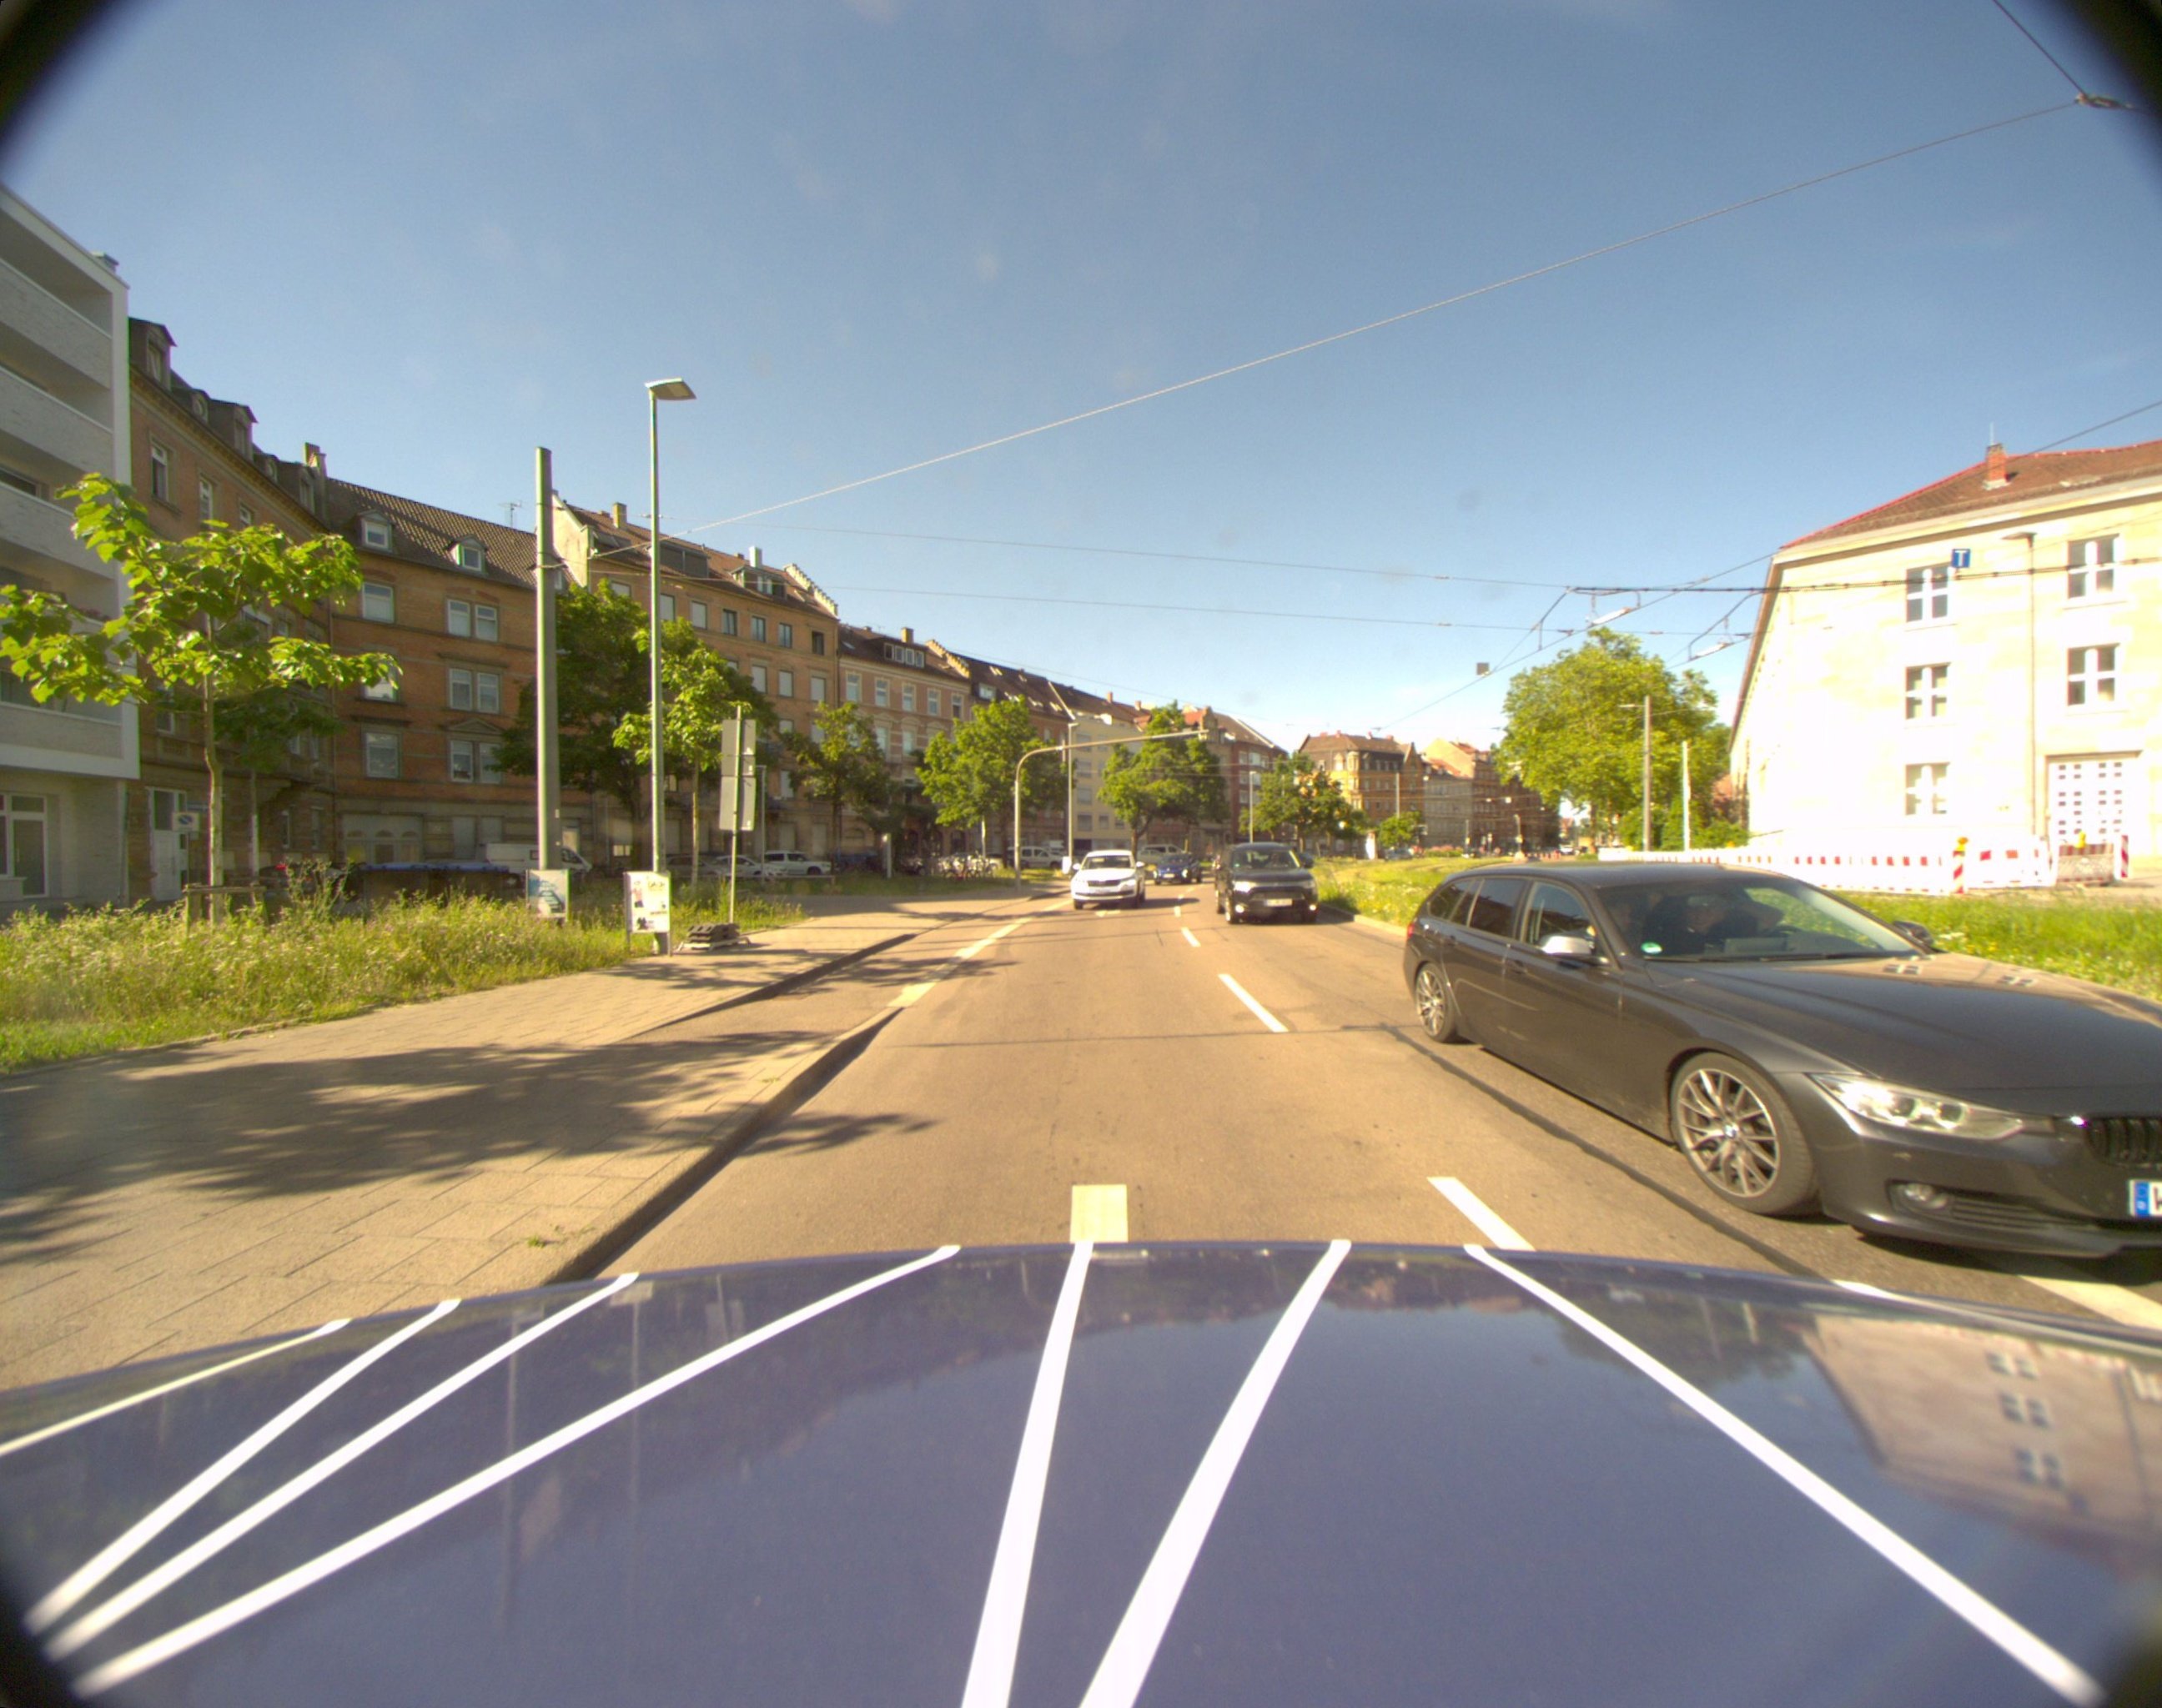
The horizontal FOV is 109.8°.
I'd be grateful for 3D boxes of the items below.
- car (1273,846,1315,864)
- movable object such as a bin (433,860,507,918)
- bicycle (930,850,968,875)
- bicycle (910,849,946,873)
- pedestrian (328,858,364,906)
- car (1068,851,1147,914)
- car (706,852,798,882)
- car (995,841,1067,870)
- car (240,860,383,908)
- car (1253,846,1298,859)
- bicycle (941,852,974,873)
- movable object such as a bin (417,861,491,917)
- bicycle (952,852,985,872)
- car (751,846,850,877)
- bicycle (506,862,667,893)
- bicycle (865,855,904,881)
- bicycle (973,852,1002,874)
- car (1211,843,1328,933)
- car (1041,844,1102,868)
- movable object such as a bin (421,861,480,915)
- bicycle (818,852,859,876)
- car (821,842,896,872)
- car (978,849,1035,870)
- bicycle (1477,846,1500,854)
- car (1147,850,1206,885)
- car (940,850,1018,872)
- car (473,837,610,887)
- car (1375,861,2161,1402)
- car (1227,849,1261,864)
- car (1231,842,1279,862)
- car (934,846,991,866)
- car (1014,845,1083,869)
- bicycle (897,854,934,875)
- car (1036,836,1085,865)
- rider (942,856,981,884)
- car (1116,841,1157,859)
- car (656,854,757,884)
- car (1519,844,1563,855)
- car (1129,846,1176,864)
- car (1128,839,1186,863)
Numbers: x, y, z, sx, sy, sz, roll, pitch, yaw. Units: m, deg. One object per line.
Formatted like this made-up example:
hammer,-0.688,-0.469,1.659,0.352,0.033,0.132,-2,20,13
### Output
car,17.424,0.048,62.112,1.885,1.419,4.385,-1,1,36
movable object such as a bin,-15.495,0.868,19.331,1.306,1.390,1.069,-1,1,-31
bicycle,-7.473,0.488,42.928,2.094,1.357,0.789,-1,1,34
bicycle,-9.014,0.445,44.720,2.094,1.357,0.789,-1,1,34
pedestrian,-24.914,0.938,25.753,0.641,1.568,0.773,0,1,39
car,0.901,0.753,22.521,1.800,1.626,4.396,-1,1,9
car,-16.370,0.635,37.861,3.838,1.433,1.761,-1,0,8
car,-3.577,0.070,55.113,4.874,2.002,2.101,1,2,5
car,-25.963,0.946,25.833,2.002,1.428,4.099,-2,1,-24
car,22.799,-0.212,89.324,4.874,1.427,2.021,1,1,6
bicycle,-7.369,0.503,45.436,1.958,1.185,0.843,2,2,39
movable object such as a bin,-16.451,0.889,19.995,1.323,1.390,1.108,-1,1,-31
bicycle,-6.839,0.487,46.197,1.945,1.174,0.902,1,2,38
car,-14.821,0.380,40.252,4.464,1.556,1.939,-1,0,8
bicycle,-21.445,0.982,33.206,2.676,1.120,5.232,-1,0,34
bicycle,-10.854,0.755,42.006,2.094,1.390,0.789,-1,1,28
bicycle,-5.477,0.514,44.496,1.598,1.282,0.769,0,1,-11
car,4.011,0.646,16.943,1.840,1.672,4.644,-2,0,6
car,-0.740,0.149,60.184,4.505,1.718,2.001,1,2,10
movable object such as a bin,-17.335,0.912,20.926,1.092,1.390,1.029,-1,1,-31
bicycle,-14.129,0.591,44.226,2.099,1.357,0.787,-1,1,-2
car,-15.437,0.186,52.959,1.994,1.966,4.734,2,1,39
car,-5.122,0.396,52.575,3.610,1.372,1.926,-1,0,6
bicycle,74.418,-0.760,138.862,1.964,1.408,6.841,1,1,43
car,4.873,0.649,38.255,1.995,1.608,4.269,-1,0,20
car,-6.719,0.460,50.226,4.747,1.372,2.047,-1,0,6
car,-26.993,0.345,38.189,2.349,2.344,5.199,2,1,40
car,3.465,0.837,4.446,1.738,1.415,4.467,-4,0,1
car,20.882,0.303,97.215,1.996,1.464,4.497,-12,-4,42
car,19.054,-0.254,83.594,4.875,2.063,2.021,1,1,4
car,-9.521,0.156,61.342,1.994,1.520,4.522,2,1,35
car,-2.431,0.203,57.631,4.872,1.639,2.102,1,2,10
bicycle,-9.565,0.606,43.924,2.163,1.151,0.824,-1,1,35
car,-1.877,-0.307,70.651,1.994,2.570,4.522,2,1,40
rider,-5.597,0.742,35.562,1.678,1.169,0.502,-5,3,-34
car,5.912,-0.405,79.957,1.994,1.789,4.636,2,1,39
car,-17.583,0.688,35.709,4.048,1.329,1.842,-1,0,16
car,64.511,-0.642,106.584,1.839,1.445,4.947,-1,1,-37
car,6.297,0.062,67.012,4.025,1.470,1.813,1,2,6
car,7.017,-0.294,69.902,5.179,2.002,2.102,1,2,10
